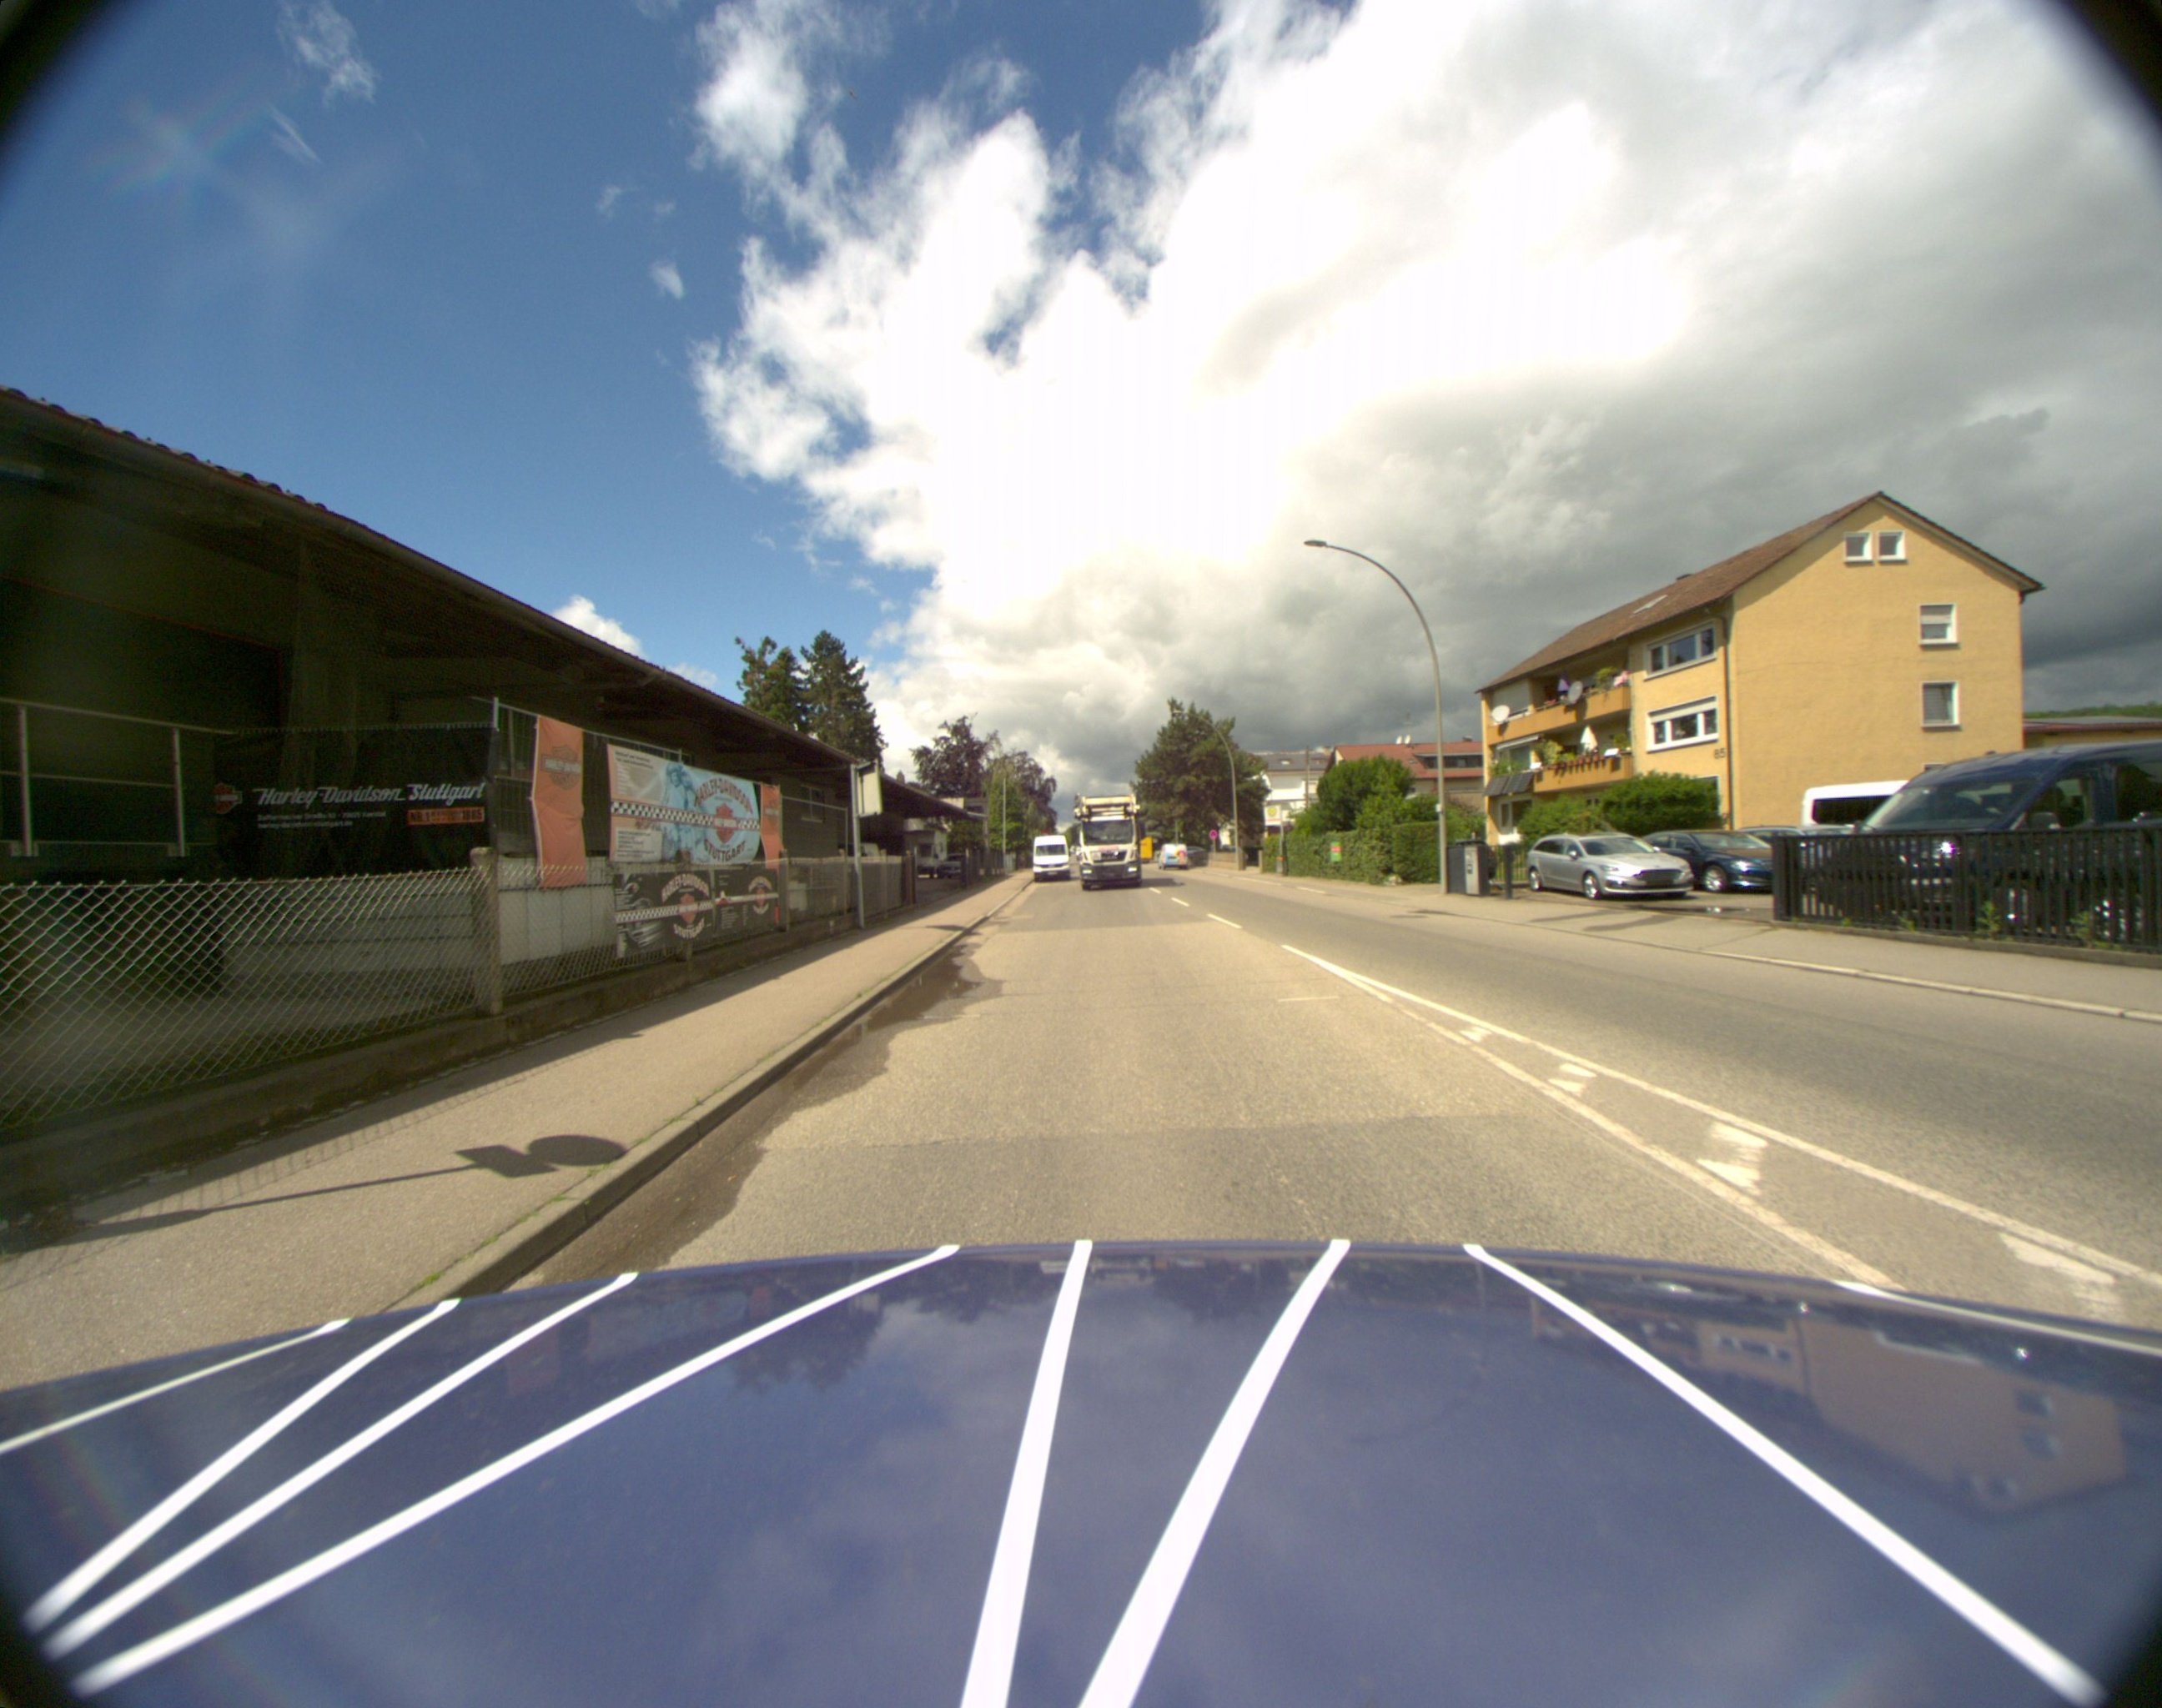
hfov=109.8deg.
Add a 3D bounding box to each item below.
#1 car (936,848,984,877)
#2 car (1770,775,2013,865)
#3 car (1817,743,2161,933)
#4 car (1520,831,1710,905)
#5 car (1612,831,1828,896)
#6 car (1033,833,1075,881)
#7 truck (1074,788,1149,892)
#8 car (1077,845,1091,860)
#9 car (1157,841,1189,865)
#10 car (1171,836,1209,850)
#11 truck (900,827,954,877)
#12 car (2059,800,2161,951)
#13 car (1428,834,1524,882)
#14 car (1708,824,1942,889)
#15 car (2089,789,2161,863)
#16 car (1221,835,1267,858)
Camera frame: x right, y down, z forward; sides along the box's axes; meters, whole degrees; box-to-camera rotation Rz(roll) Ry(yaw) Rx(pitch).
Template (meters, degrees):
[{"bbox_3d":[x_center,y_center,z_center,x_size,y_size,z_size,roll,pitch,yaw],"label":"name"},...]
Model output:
[{"bbox_3d":[-7.079,0.464,44.979,1.862,1.521,5.202,-2,1,1],"label":"car"},{"bbox_3d":[20.471,-0.829,19.496,1.998,2.002,3.999,-2,1,1],"label":"car"},{"bbox_3d":[14.248,-0.270,10.824,5.363,2.371,2.104,-2,1,2],"label":"car"},{"bbox_3d":[12.374,0.248,18.007,1.887,1.450,4.352,-3,1,8],"label":"car"},{"bbox_3d":[15.139,0.158,18.350,1.885,1.334,3.999,-2,1,1],"label":"car"},{"bbox_3d":[-1.468,0.104,43.484,2.091,2.519,5.202,-2,1,1],"label":"car"},{"bbox_3d":[1.216,-0.629,33.269,2.664,3.789,9.813,-2,1,1],"label":"truck"},{"bbox_3d":[0.451,-0.242,120.102,2.091,2.311,5.202,-2,1,1],"label":"car"},{"bbox_3d":[6.661,-0.116,55.404,1.730,1.671,3.998,-2,1,-2],"label":"car"},{"bbox_3d":[14.337,-1.505,100.125,4.735,1.669,2.218,-2,1,-1],"label":"car"},{"bbox_3d":[-9.331,-0.145,46.540,2.091,2.812,5.202,-2,1,1],"label":"truck"},{"bbox_3d":[12.399,0.218,7.126,1.813,1.612,3.620,-2,1,1],"label":"car"},{"bbox_3d":[14.986,0.122,29.050,1.831,1.656,3.521,-2,1,1],"label":"car"},{"bbox_3d":[18.060,0.024,18.755,1.883,1.364,3.999,-2,1,1],"label":"car"},{"bbox_3d":[28.751,-0.743,18.939,1.998,1.915,3.999,-2,1,1],"label":"car"},{"bbox_3d":[15.417,-0.693,71.986,2.003,2.002,3.990,-3,1,-32],"label":"car"}]
